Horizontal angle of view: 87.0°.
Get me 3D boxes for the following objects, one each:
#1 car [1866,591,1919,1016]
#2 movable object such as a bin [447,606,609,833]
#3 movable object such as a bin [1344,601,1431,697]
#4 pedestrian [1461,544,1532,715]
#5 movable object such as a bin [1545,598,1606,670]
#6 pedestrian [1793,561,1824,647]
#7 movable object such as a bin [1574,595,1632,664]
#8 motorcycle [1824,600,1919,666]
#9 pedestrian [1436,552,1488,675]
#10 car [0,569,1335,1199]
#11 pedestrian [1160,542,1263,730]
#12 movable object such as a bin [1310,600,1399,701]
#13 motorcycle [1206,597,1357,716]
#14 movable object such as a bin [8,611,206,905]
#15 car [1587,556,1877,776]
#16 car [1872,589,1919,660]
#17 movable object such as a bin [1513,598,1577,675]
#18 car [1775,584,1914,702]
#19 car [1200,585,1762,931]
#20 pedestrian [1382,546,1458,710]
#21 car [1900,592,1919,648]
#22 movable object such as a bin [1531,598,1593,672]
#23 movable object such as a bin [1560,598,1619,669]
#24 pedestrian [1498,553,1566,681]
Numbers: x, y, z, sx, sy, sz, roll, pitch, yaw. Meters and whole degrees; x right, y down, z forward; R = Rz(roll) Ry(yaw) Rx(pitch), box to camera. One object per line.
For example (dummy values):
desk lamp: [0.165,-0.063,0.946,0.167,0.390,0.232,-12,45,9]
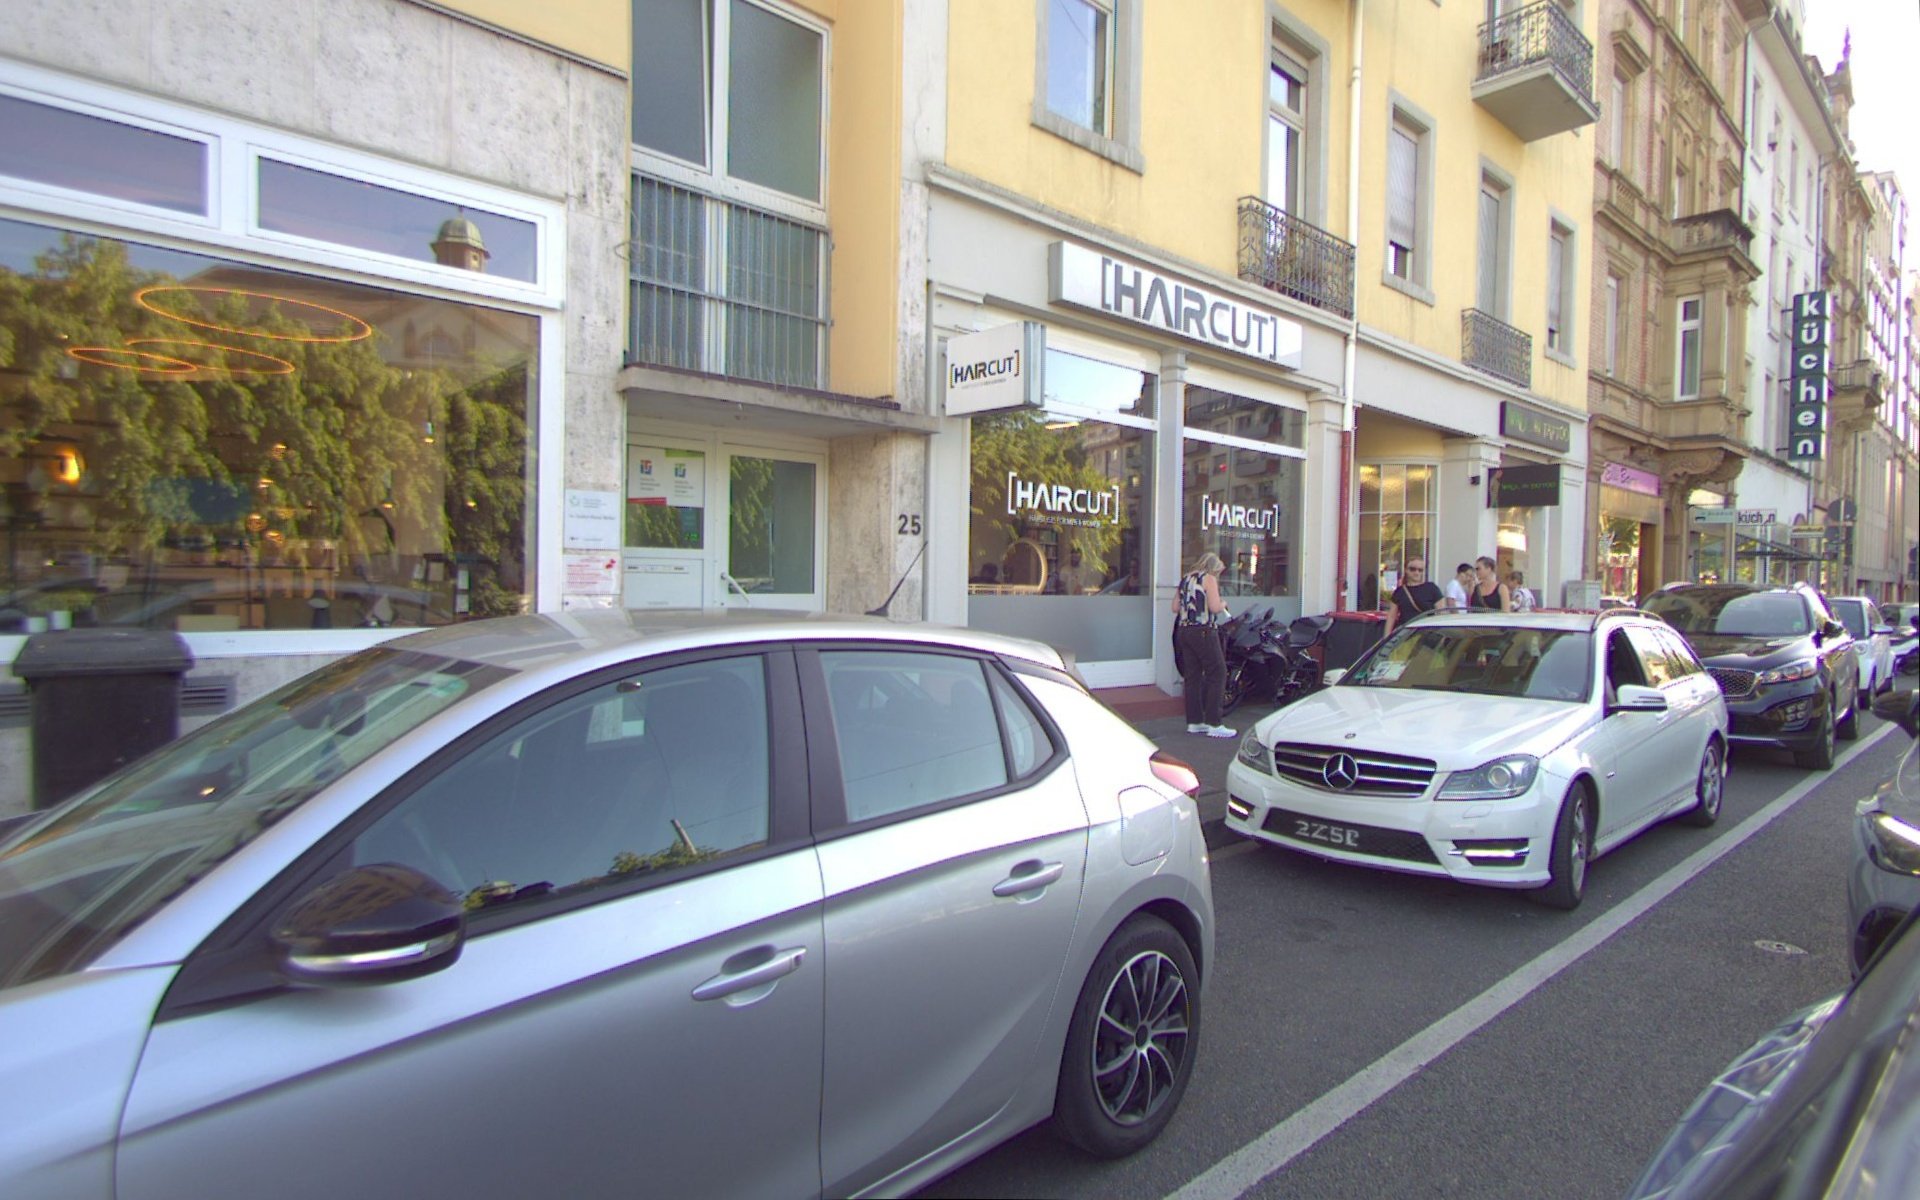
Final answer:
car: [5.434,0.708,4.320,4.297,1.467,1.846,0,1,-41]
movable object such as a bin: [-2.359,0.601,5.506,0.609,1.080,0.704,0,4,-41]
movable object such as a bin: [4.974,0.552,11.798,0.608,1.037,0.669,1,3,-38]
pedestrian: [5.356,0.282,10.107,0.408,1.653,0.514,0,0,-44]
movable object such as a bin: [9.764,0.522,16.047,0.608,1.079,0.606,0,4,-41]
pedestrian: [17.915,0.077,21.371,0.473,1.785,0.434,0,0,-41]
movable object such as a bin: [10.715,0.479,16.868,0.608,1.079,0.606,0,4,-41]
motorcycle: [18.987,0.658,20.480,2.137,1.295,0.866,1,0,7]
pedestrian: [6.991,0.184,14.084,0.513,1.681,0.339,1,2,-23]
car: [-0.884,0.668,2.428,4.007,1.445,1.673,0,1,-42]
pedestrian: [2.306,0.301,9.300,0.523,1.653,0.697,0,2,-43]
movable object such as a bin: [4.456,0.551,11.434,0.608,1.054,0.661,1,3,-38]
motorcycle: [3.377,0.535,10.515,1.975,1.105,0.551,0,3,-42]
movable object such as a bin: [-3.665,0.618,4.366,0.609,1.080,0.704,0,4,-41]
car: [8.014,0.502,10.324,4.498,1.758,1.756,0,1,-45]
car: [22.197,0.523,23.105,4.096,1.537,1.734,0,1,-44]
movable object such as a bin: [8.817,0.534,15.247,0.608,1.079,0.606,0,4,-41]
car: [12.873,0.547,14.689,2.748,1.537,1.273,0,1,-44]
car: [3.541,0.655,6.443,4.387,1.465,1.741,0,1,-42]
pedestrian: [4.819,0.275,10.603,0.616,1.653,0.456,1,0,42]
car: [26.549,0.514,27.035,3.736,1.435,1.736,0,1,-41]
movable object such as a bin: [9.306,0.528,15.654,0.608,1.079,0.606,0,4,-41]
movable object such as a bin: [10.235,0.529,16.454,0.608,1.079,0.606,0,4,-41]
pedestrian: [7.670,0.217,13.588,0.581,1.681,0.451,2,1,1]
